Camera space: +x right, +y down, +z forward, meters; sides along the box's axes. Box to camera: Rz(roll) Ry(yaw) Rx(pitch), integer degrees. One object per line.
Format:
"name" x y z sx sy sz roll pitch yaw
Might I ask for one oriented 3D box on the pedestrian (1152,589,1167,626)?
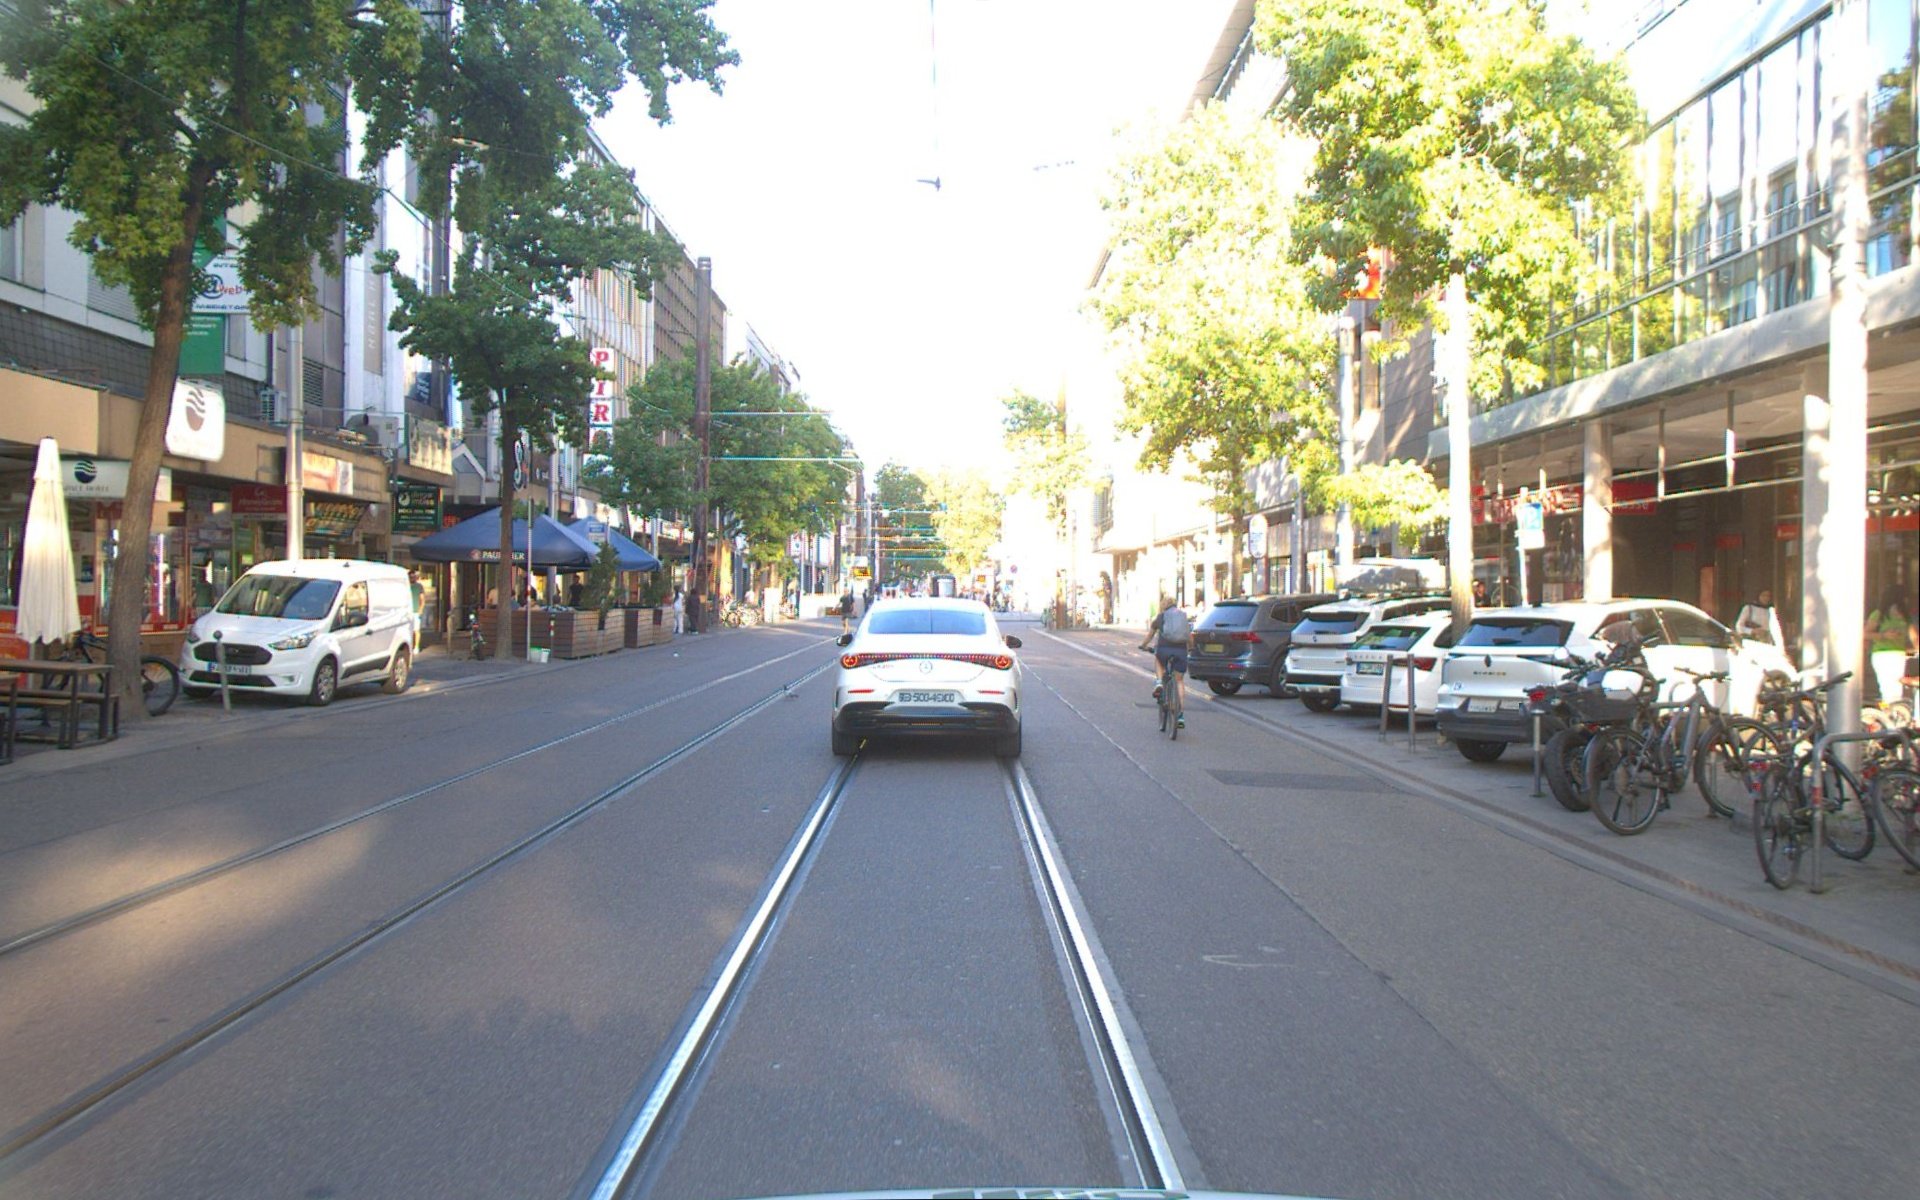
"pedestrian" 9.294 0.347 77.155 0.624 1.682 0.781 1 0 1

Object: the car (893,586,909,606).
"car" -7.687 -0.510 216.789 1.871 2.504 5.274 0 0 0

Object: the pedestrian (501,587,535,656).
"pedestrian" -9.569 0.457 35.809 0.538 1.454 0.582 1 0 -1

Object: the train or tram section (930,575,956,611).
"train or tram section" -1.744 -0.710 172.009 2.639 3.578 11.141 0 0 0

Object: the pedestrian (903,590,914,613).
"pedestrian" -4.099 0.132 131.782 0.784 1.813 0.848 2 0 -2

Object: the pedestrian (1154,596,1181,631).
"pedestrian" 8.482 0.544 67.559 0.822 1.401 0.772 1 0 -23

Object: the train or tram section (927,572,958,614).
"train or tram section" -1.560 -0.647 147.619 2.639 3.578 12.543 0 0 0

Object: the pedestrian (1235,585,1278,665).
"pedestrian" 6.490 0.553 36.153 0.667 1.715 0.694 -2 0 33

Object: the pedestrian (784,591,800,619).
"pedestrian" -10.694 0.312 105.379 0.886 1.728 0.849 0 0 0

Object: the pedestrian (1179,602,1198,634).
"pedestrian" 8.833 0.698 64.003 0.652 1.219 0.785 1 0 4

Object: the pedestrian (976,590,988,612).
"pedestrian" 1.888 0.091 141.978 0.941 1.816 0.803 -1 0 -1

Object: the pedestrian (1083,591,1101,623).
"pedestrian" 7.502 0.415 94.093 0.881 1.775 0.689 -3 0 -1

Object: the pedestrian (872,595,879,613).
"pedestrian" -7.677 0.343 150.717 0.646 1.627 0.573 0 0 -2

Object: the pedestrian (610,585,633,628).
"pedestrian" -12.443 0.237 60.823 0.609 1.552 0.809 3 0 0

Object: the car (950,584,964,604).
"car" -0.494 -0.906 249.240 2.056 2.948 5.284 0 0 0

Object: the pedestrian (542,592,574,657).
"pedestrian" -8.691 0.529 35.769 0.538 1.380 0.582 1 0 -1

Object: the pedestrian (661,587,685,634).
"pedestrian" -9.563 0.339 55.120 0.609 1.535 0.833 3 0 0

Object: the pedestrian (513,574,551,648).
"pedestrian" -10.296 0.264 39.777 0.703 1.755 0.675 1 0 -2

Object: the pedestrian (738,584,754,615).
"pedestrian" -12.249 -0.030 94.580 0.776 1.797 0.533 0 0 -25

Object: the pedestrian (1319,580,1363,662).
"pedestrian" 8.316 0.461 36.089 0.677 1.761 0.629 -2 0 42

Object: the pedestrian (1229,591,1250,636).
"pedestrian" 11.145 0.530 65.974 0.701 1.771 0.835 1 0 0

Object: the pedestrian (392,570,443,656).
"pedestrian" -11.169 0.259 34.080 0.653 1.715 1.005 2 0 -1

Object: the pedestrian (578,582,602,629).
"pedestrian" -12.311 0.185 55.096 0.585 1.559 0.671 2 0 0

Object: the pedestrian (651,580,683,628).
"pedestrian" -10.954 0.155 61.903 0.832 1.771 0.835 2 0 19

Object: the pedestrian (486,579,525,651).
"pedestrian" -10.432 0.338 37.961 0.659 1.635 0.719 1 0 -1

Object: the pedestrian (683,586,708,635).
"pedestrian" -8.830 0.340 55.253 0.609 1.577 0.852 3 0 0

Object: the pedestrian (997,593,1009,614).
"pedestrian" 3.751 0.310 144.427 0.941 1.816 0.803 -1 0 -1

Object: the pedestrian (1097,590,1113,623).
"pedestrian" 8.250 0.359 94.079 0.687 1.844 1.033 -3 0 -1

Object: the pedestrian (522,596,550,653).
"pedestrian" -9.513 0.540 37.122 0.484 1.249 0.535 1 0 -1

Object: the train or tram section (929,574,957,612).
"train or tram section" -1.651 -0.682 160.170 2.639 3.578 12.543 0 0 0

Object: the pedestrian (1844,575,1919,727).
"pedestrian" 10.506 0.551 18.543 0.699 1.652 0.882 -1 0 1

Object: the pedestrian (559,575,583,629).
"pedestrian" -12.945 0.057 55.085 0.585 1.775 0.671 2 0 0

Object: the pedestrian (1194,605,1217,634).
"pedestrian" 9.308 0.730 62.672 0.818 1.049 0.696 1 0 4

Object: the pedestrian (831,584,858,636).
"pedestrian" -4.159 0.361 59.542 0.824 1.832 0.790 2 0 0

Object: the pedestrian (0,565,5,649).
"pedestrian" -13.258 0.256 21.862 0.754 1.492 0.764 3 0 -3

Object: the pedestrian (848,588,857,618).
"pedestrian" -6.975 0.175 107.418 0.560 1.963 0.540 0 0 -5
